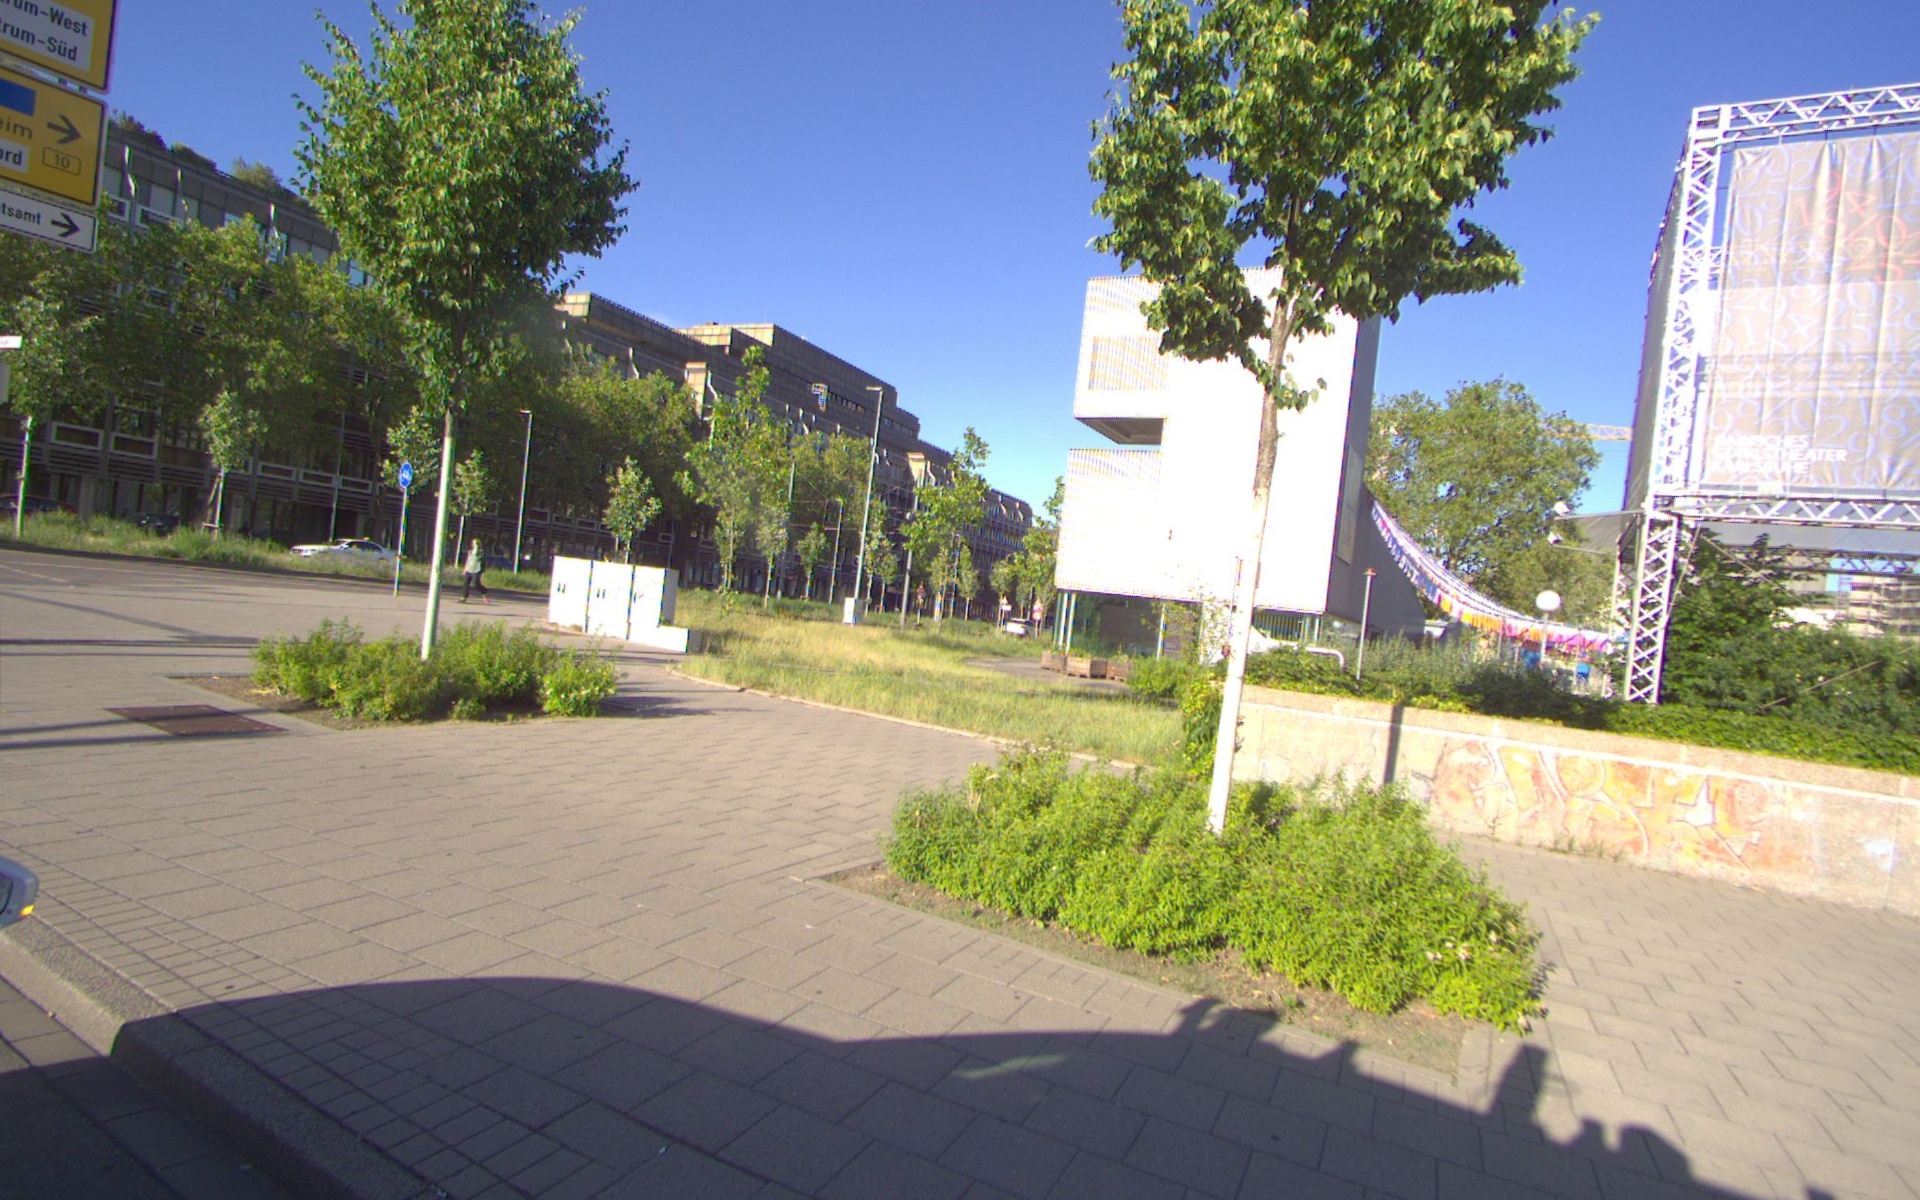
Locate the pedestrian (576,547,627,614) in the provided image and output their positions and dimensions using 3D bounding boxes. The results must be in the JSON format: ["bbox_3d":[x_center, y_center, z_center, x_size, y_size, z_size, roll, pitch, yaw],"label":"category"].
[{"bbox_3d":[-10.017,-0.541,28.129,0.925,1.750,0.695,7,1,18],"label":"pedestrian"}]

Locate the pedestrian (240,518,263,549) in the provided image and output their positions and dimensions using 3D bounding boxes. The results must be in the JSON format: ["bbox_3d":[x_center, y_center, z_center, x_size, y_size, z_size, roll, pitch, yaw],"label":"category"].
[{"bbox_3d":[-41.197,-3.864,58.479,0.728,1.678,0.665,7,1,25],"label":"pedestrian"}]

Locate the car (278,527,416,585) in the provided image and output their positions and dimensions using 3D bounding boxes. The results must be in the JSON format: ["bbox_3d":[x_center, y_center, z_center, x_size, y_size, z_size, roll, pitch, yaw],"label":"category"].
[{"bbox_3d":[-30.675,-2.182,50.579,2.062,2.036,5.455,6,-2,29],"label":"car"}]

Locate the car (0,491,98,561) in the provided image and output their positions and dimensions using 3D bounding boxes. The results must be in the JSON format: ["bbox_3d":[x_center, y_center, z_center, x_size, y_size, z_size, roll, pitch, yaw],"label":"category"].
[{"bbox_3d":[-33.313,-2.712,35.368,1.966,2.037,3.997,6,-2,29],"label":"car"}]

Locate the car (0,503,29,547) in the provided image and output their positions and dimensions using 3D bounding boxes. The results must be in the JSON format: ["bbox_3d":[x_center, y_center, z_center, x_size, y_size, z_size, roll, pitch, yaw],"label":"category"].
[{"bbox_3d":[-37.243,-3.044,36.938,1.836,1.525,3.997,7,-2,29],"label":"car"}]

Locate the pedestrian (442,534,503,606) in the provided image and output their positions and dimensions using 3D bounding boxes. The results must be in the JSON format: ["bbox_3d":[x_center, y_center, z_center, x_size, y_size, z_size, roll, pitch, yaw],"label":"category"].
[{"bbox_3d":[-12.147,-0.735,25.065,0.925,1.650,0.803,7,1,18],"label":"pedestrian"}]

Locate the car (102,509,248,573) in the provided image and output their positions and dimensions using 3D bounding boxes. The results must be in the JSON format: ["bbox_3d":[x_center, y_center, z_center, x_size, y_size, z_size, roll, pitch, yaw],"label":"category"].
[{"bbox_3d":[-34.111,-2.529,43.875,1.965,2.036,4.458,7,-2,27],"label":"car"}]

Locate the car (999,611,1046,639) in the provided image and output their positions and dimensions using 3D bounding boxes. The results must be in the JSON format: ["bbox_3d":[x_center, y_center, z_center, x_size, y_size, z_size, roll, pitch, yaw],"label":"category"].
[{"bbox_3d":[4.728,1.903,75.517,1.963,1.680,4.405,8,0,23],"label":"car"}]
